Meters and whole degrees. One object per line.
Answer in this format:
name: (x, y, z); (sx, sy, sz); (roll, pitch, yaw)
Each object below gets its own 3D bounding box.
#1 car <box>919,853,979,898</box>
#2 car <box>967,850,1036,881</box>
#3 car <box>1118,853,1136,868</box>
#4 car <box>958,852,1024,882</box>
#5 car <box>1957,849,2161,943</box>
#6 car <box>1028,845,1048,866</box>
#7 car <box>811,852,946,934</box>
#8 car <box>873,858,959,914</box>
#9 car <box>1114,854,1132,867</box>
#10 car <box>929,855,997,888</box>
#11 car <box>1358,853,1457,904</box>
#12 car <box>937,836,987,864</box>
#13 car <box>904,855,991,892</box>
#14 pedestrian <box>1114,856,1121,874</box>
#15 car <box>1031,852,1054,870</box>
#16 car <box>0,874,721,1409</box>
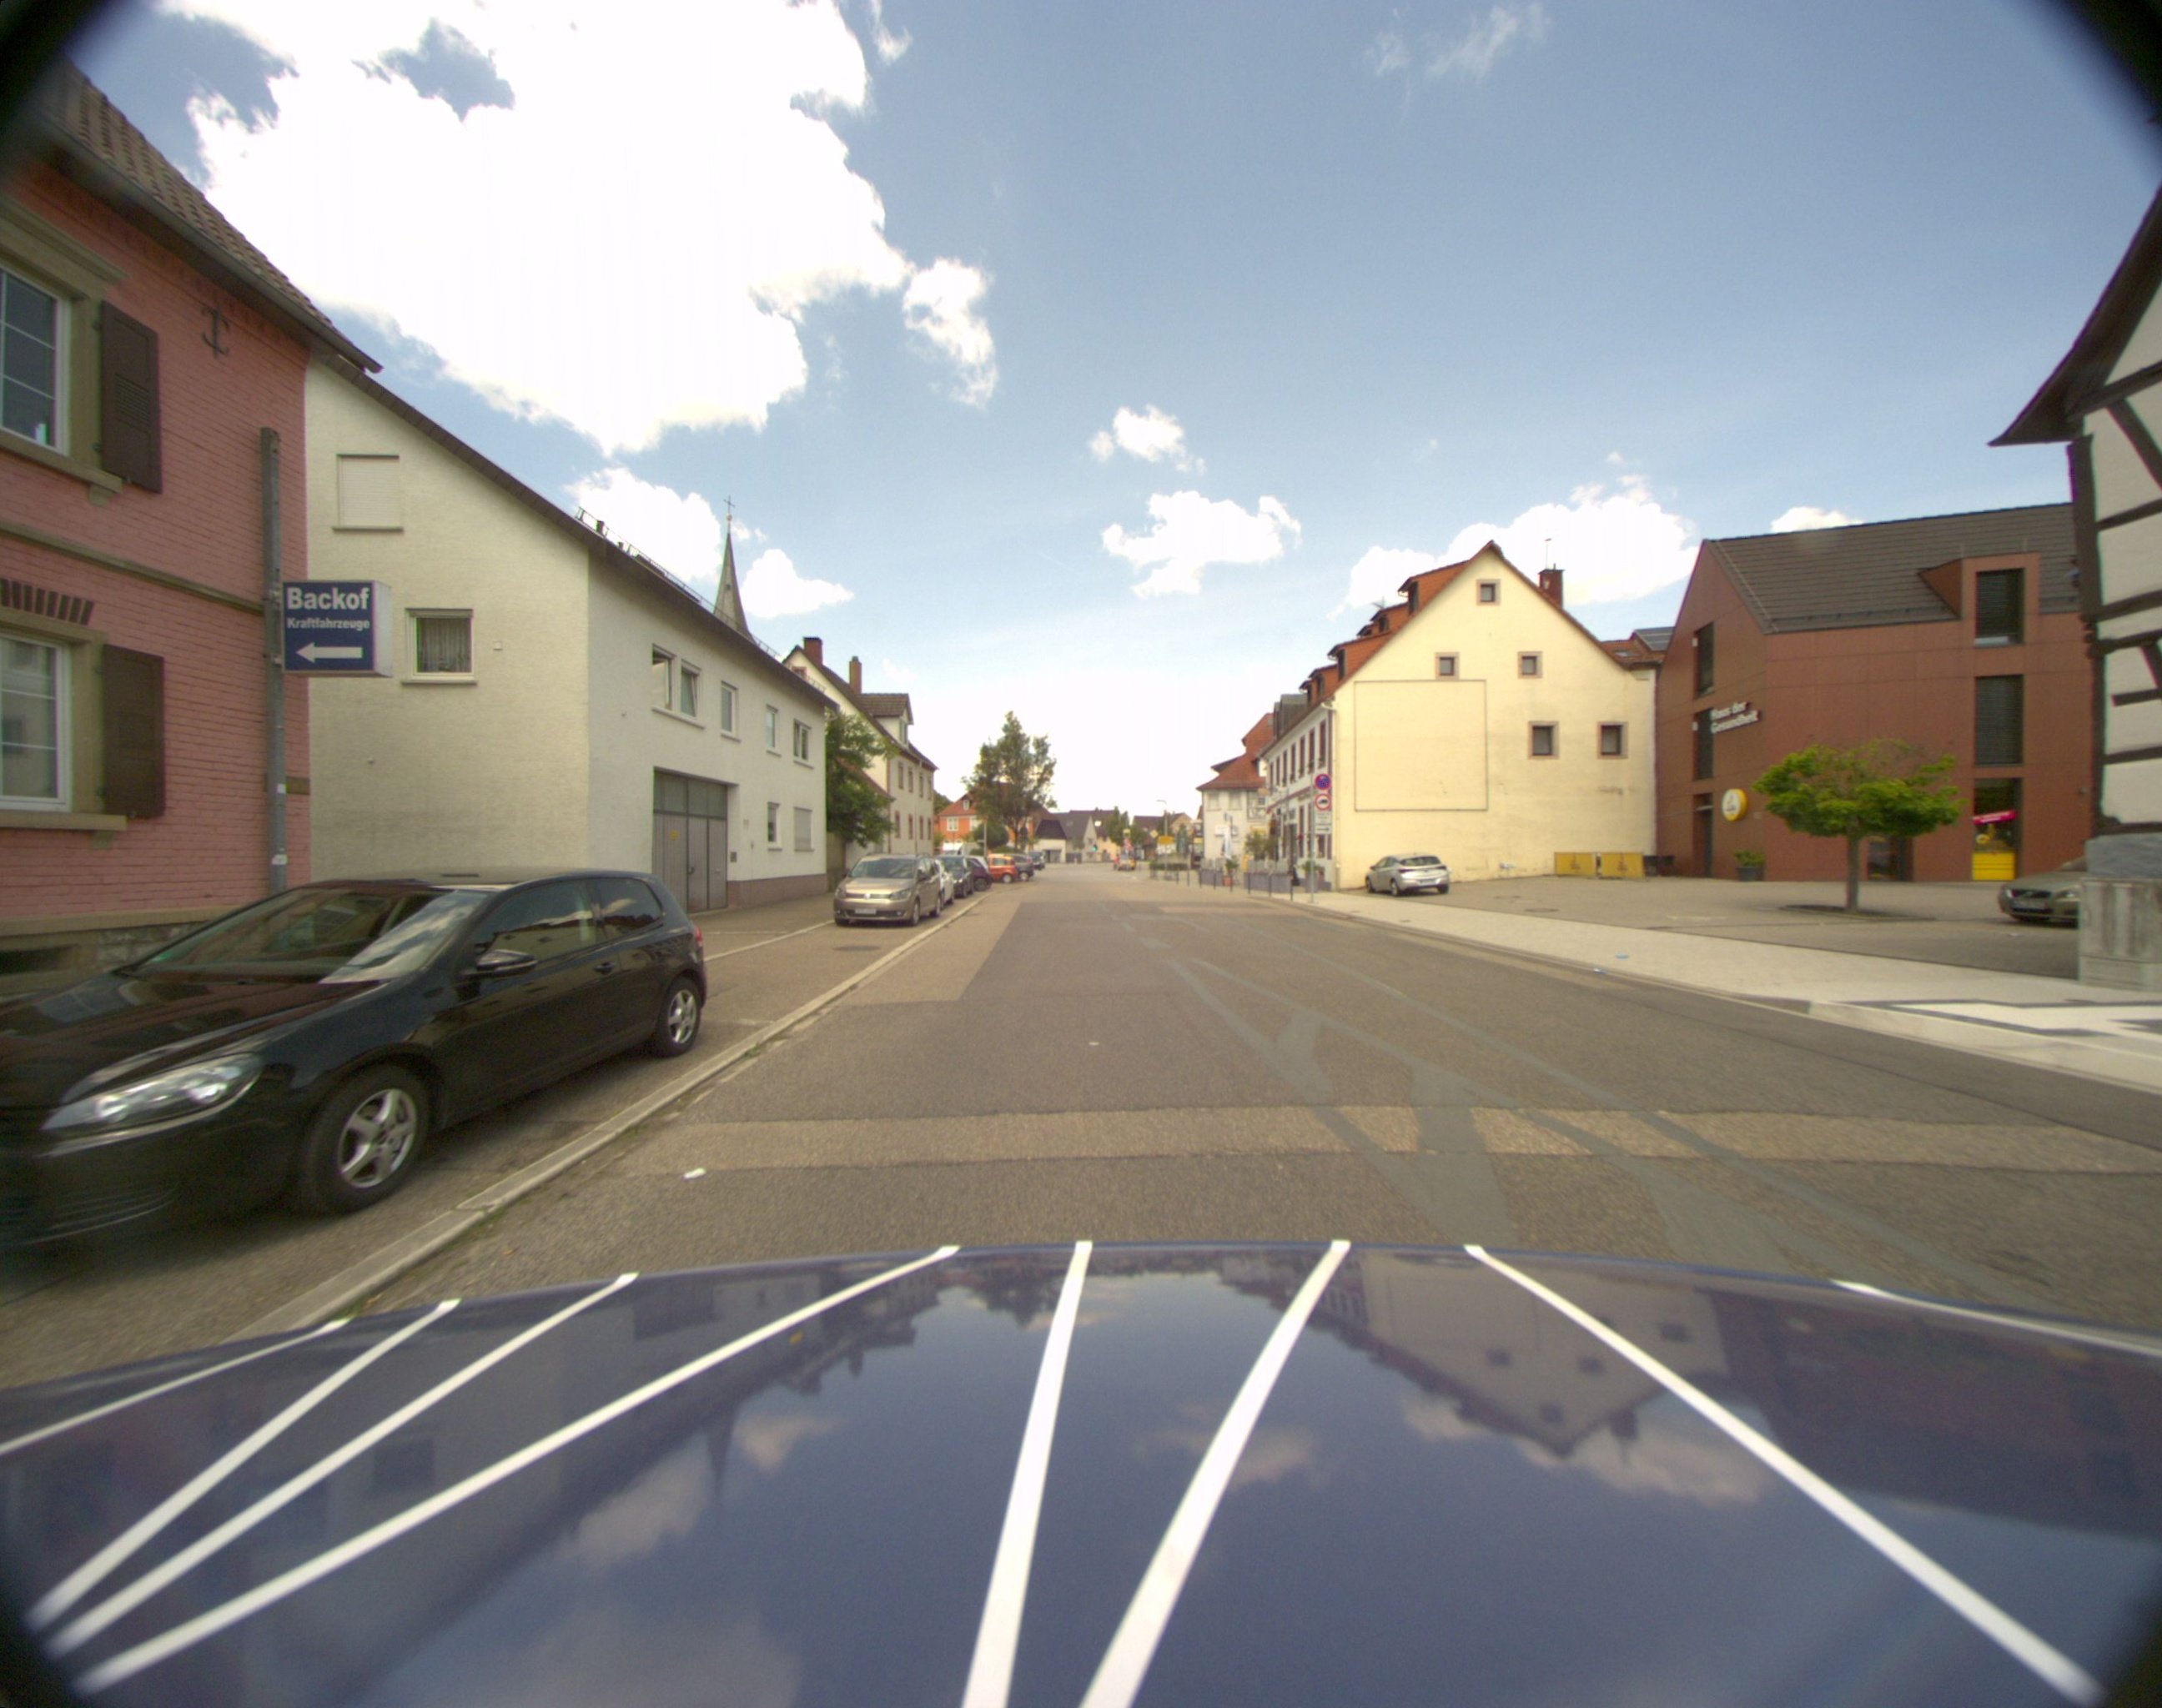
car: (-4.940, 0.757, 28.964); (1.667, 1.615, 4.271); (0, 0, -2)
car: (-4.590, 0.652, 44.181); (3.859, 1.569, 1.849); (1, 3, -4)
car: (4.703, 0.667, 77.961); (1.672, 1.466, 3.963); (0, 0, 2)
car: (-4.932, 0.698, 41.869); (3.385, 1.568, 1.726); (1, 0, 0)
car: (18.677, 0.656, 13.163); (4.435, 1.381, 1.965); (-3, 0, 6)
car: (-4.780, 0.175, 85.325); (1.947, 2.164, 5.101); (2, 0, 0)
car: (-4.546, 0.790, 17.749); (1.999, 1.671, 4.322); (0, 0, 0)
car: (-4.970, 0.907, 23.509); (1.999, 1.508, 4.369); (0, 0, -4)
car: (4.607, 0.683, 83.823); (1.820, 1.415, 4.539); (0, 0, 5)
car: (-5.521, 0.794, 35.470); (2.791, 1.496, 1.874); (0, 0, -24)
car: (11.588, 0.802, 27.305); (1.762, 1.484, 4.276); (-5, 1, 2)
car: (-13.465, -0.489, 86.588); (2.755, 2.946, 7.122); (1, 1, 17)
car: (-5.720, 0.847, 32.487); (3.242, 1.496, 1.822); (2, 0, -27)
pedestrian: (3.225, 0.981, 67.728); (0.640, 1.619, 0.620); (0, 1, 2)
car: (-3.612, 0.649, 72.380); (1.773, 1.555, 4.418); (2, 0, 2)
car: (-3.969, 0.936, 4.397); (1.779, 1.486, 4.161); (1, 0, 0)
